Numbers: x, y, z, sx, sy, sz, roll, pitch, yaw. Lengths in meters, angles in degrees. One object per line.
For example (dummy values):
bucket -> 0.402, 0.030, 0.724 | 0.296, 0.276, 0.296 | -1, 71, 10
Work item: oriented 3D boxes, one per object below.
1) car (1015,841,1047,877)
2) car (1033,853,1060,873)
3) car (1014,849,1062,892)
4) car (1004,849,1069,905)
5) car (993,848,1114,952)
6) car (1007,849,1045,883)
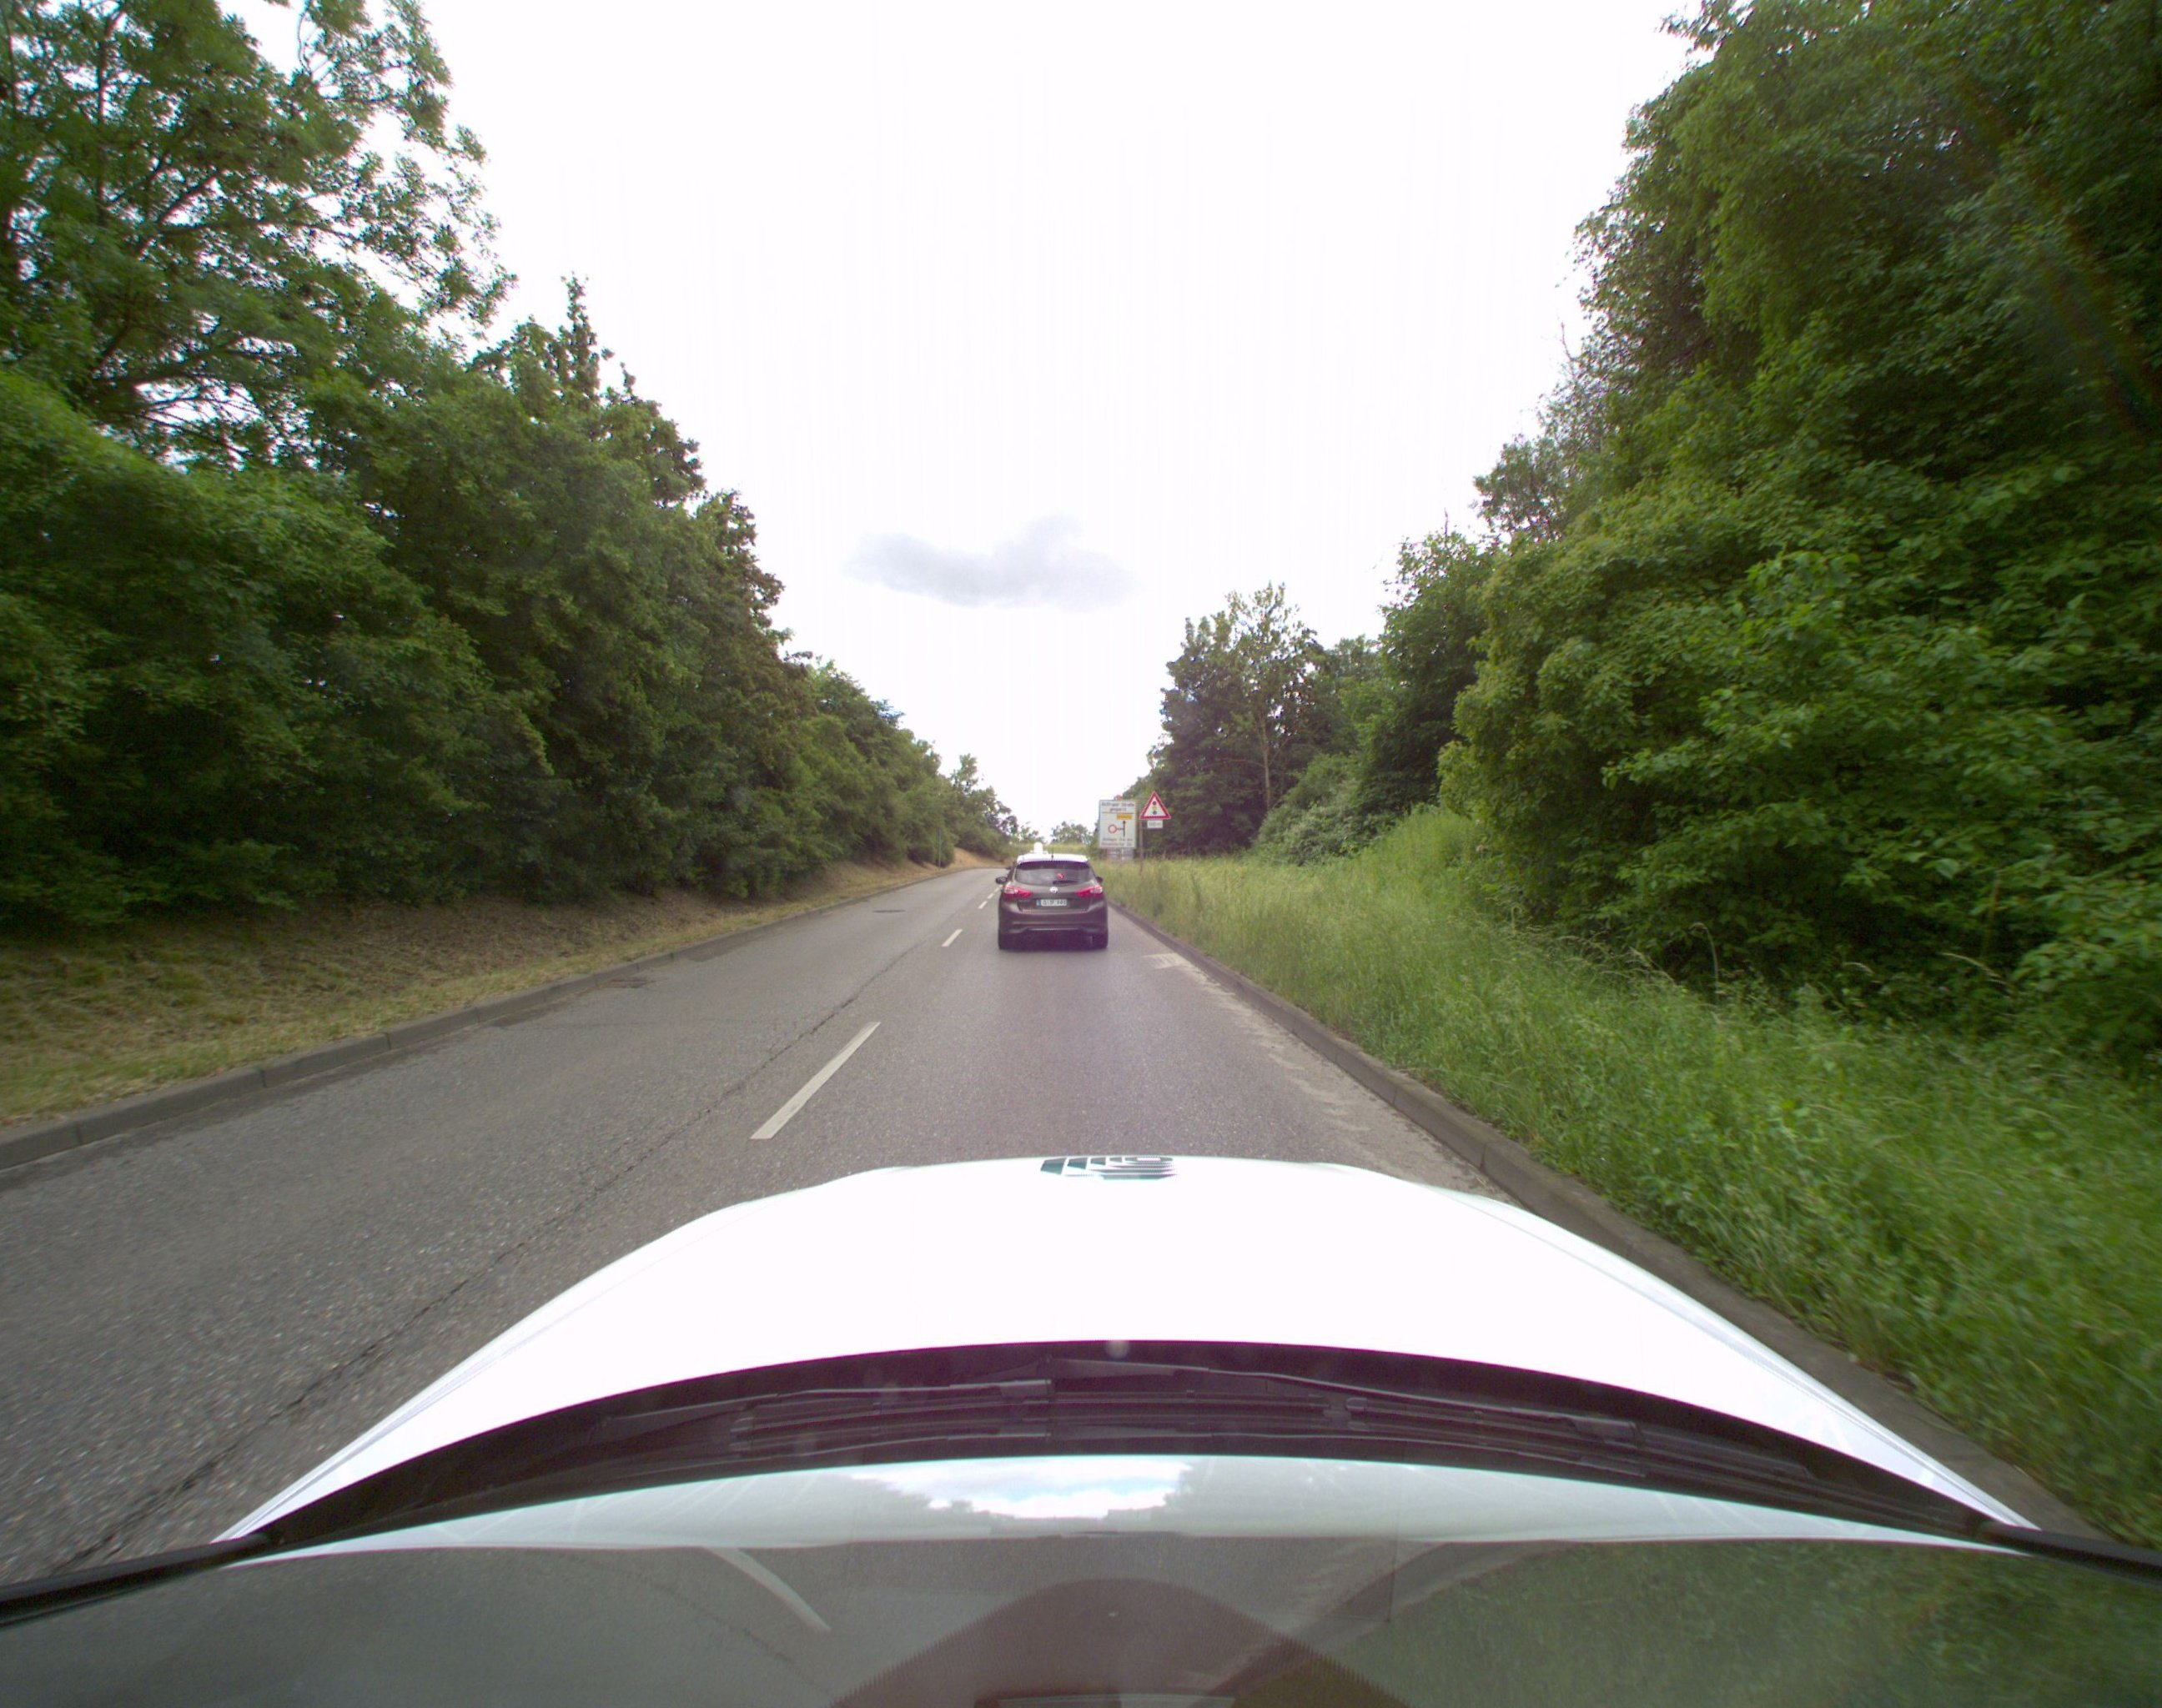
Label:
car -> -2.855, 0.288, 46.762 | 1.732, 1.935, 3.540 | -1, 0, -3
car -> -2.793, 0.745, 66.235 | 1.728, 1.526, 3.645 | -1, 0, 4
car -> -1.682, 0.609, 32.274 | 1.732, 1.556, 3.540 | -1, 0, -3
car -> -1.364, 0.657, 25.384 | 1.826, 1.556, 3.621 | -1, 0, -3
car -> -0.507, 0.696, 14.169 | 1.826, 1.556, 3.495 | -1, 0, -3
car -> -2.649, 0.566, 39.592 | 1.732, 1.556, 3.540 | -1, 0, -3
